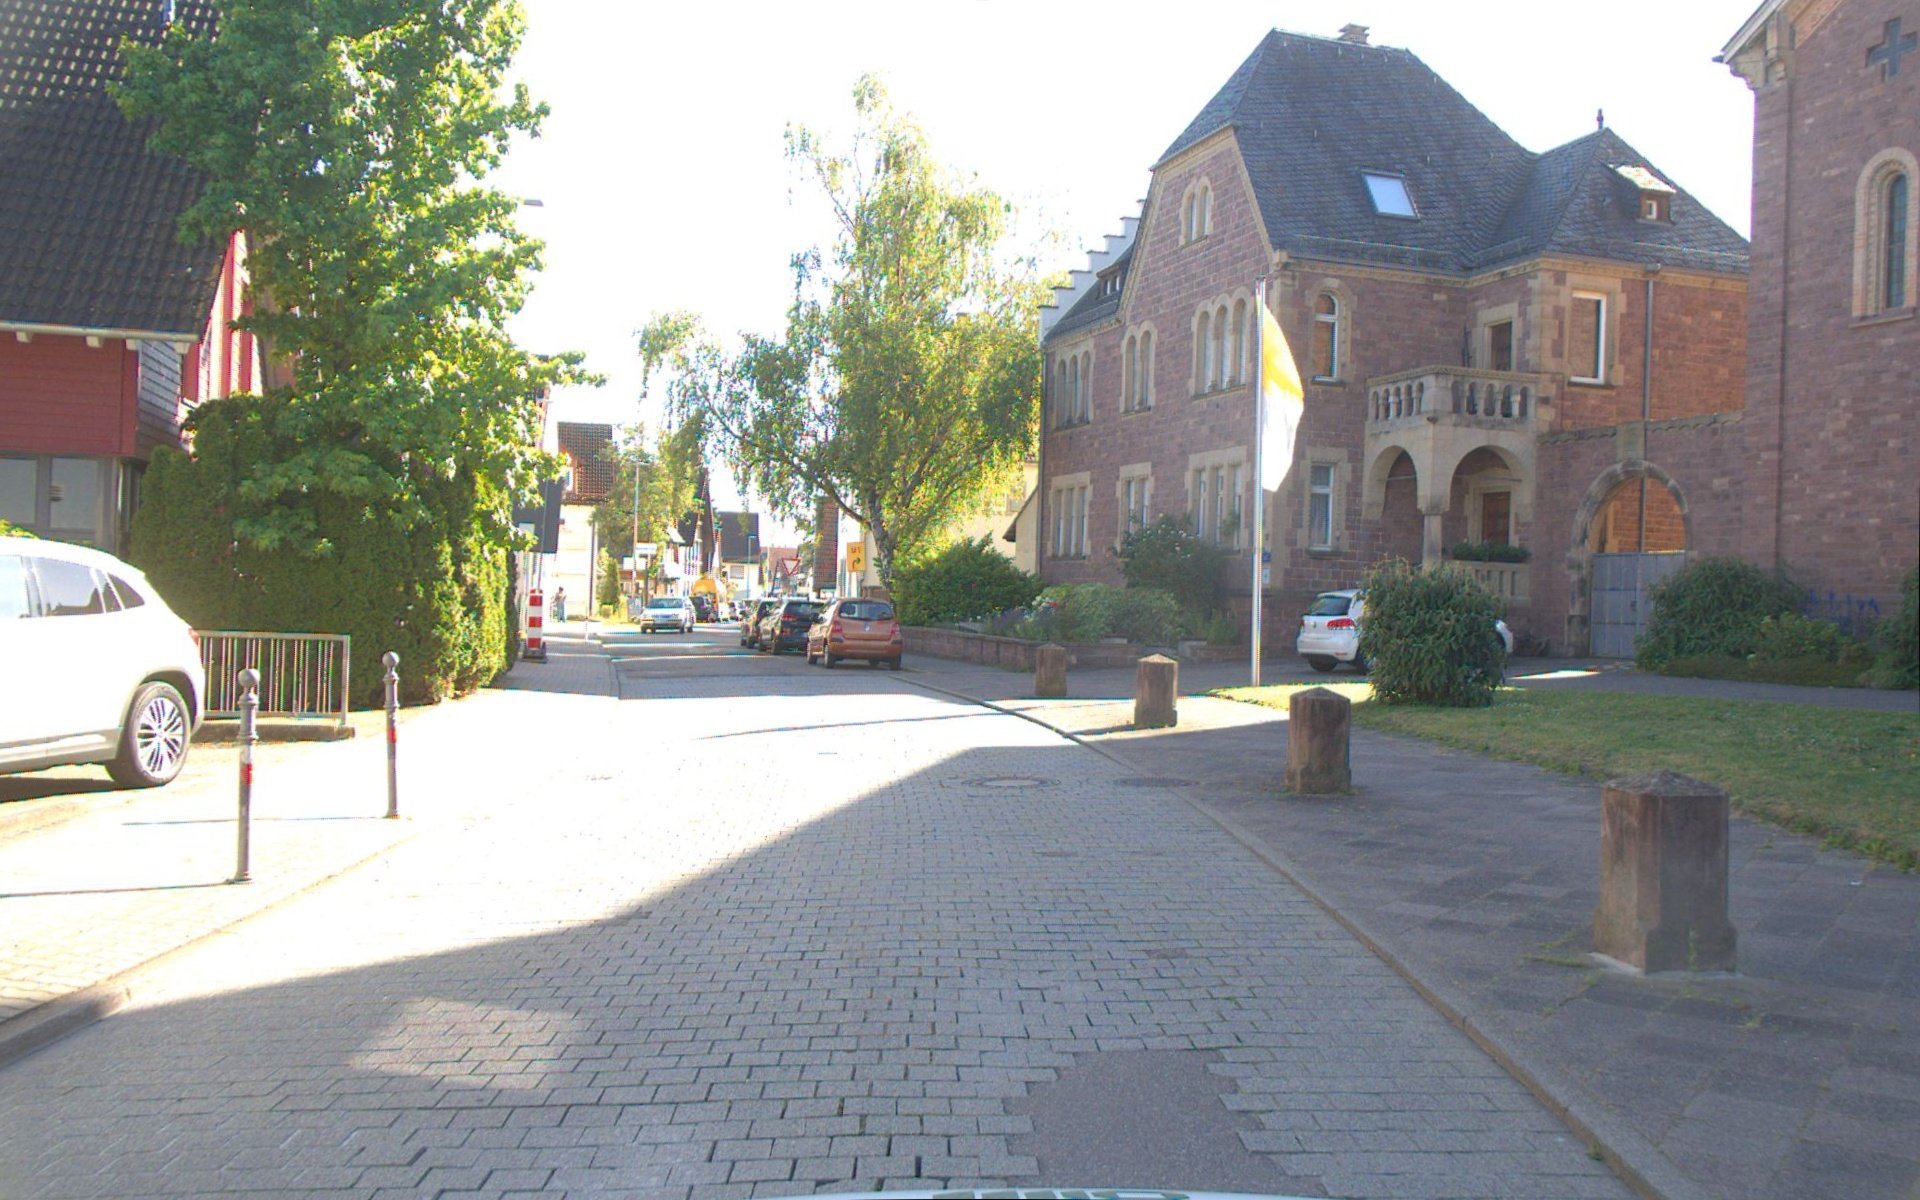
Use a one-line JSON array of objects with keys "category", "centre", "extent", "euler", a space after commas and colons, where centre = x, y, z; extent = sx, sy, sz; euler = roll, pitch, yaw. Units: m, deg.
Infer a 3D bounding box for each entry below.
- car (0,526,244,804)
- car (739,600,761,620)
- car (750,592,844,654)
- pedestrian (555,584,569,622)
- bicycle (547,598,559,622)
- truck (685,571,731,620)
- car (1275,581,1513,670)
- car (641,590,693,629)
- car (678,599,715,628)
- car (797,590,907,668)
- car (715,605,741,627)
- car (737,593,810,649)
[{"category": "car", "centre": [-6.453, 0.333, 10.008], "extent": [1.779, 1.623, 4.448], "euler": [3, 0, 7]}, {"category": "car", "centre": [-16.676, 0.817, 131.490], "extent": [1.557, 1.468, 3.610], "euler": [3, -1, -5]}, {"category": "car", "centre": [-4.375, 0.579, 43.917], "extent": [1.777, 1.461, 4.269], "euler": [3, 0, -14]}, {"category": "pedestrian", "centre": [-18.688, 0.143, 77.717], "extent": [0.474, 1.722, 0.556], "euler": [3, -3, -7]}, {"category": "bicycle", "centre": [-19.078, 0.473, 77.469], "extent": [0.415, 1.071, 1.377], "euler": [3, -2, -10]}, {"category": "truck", "centre": [-16.602, -0.255, 109.170], "extent": [2.223, 2.919, 5.779], "euler": [3, -1, -2]}, {"category": "car", "centre": [7.928, 0.450, 30.271], "extent": [3.841, 1.522, 1.893], "euler": [-1, -1, -21]}, {"category": "car", "centre": [-11.463, 0.380, 64.943], "extent": [1.638, 1.427, 3.887], "euler": [2, 0, -5]}, {"category": "car", "centre": [-16.487, 0.852, 103.574], "extent": [1.770, 1.650, 3.878], "euler": [3, -1, -2]}, {"category": "car", "centre": [-2.394, 0.587, 35.724], "extent": [1.621, 1.504, 3.918], "euler": [3, 0, -14]}, {"category": "car", "centre": [-16.560, 1.171, 118.186], "extent": [1.613, 1.458, 3.610], "euler": [3, -1, -5]}, {"category": "car", "centre": [-5.511, 0.584, 48.494], "extent": [1.775, 1.461, 4.274], "euler": [3, 0, -11]}]
